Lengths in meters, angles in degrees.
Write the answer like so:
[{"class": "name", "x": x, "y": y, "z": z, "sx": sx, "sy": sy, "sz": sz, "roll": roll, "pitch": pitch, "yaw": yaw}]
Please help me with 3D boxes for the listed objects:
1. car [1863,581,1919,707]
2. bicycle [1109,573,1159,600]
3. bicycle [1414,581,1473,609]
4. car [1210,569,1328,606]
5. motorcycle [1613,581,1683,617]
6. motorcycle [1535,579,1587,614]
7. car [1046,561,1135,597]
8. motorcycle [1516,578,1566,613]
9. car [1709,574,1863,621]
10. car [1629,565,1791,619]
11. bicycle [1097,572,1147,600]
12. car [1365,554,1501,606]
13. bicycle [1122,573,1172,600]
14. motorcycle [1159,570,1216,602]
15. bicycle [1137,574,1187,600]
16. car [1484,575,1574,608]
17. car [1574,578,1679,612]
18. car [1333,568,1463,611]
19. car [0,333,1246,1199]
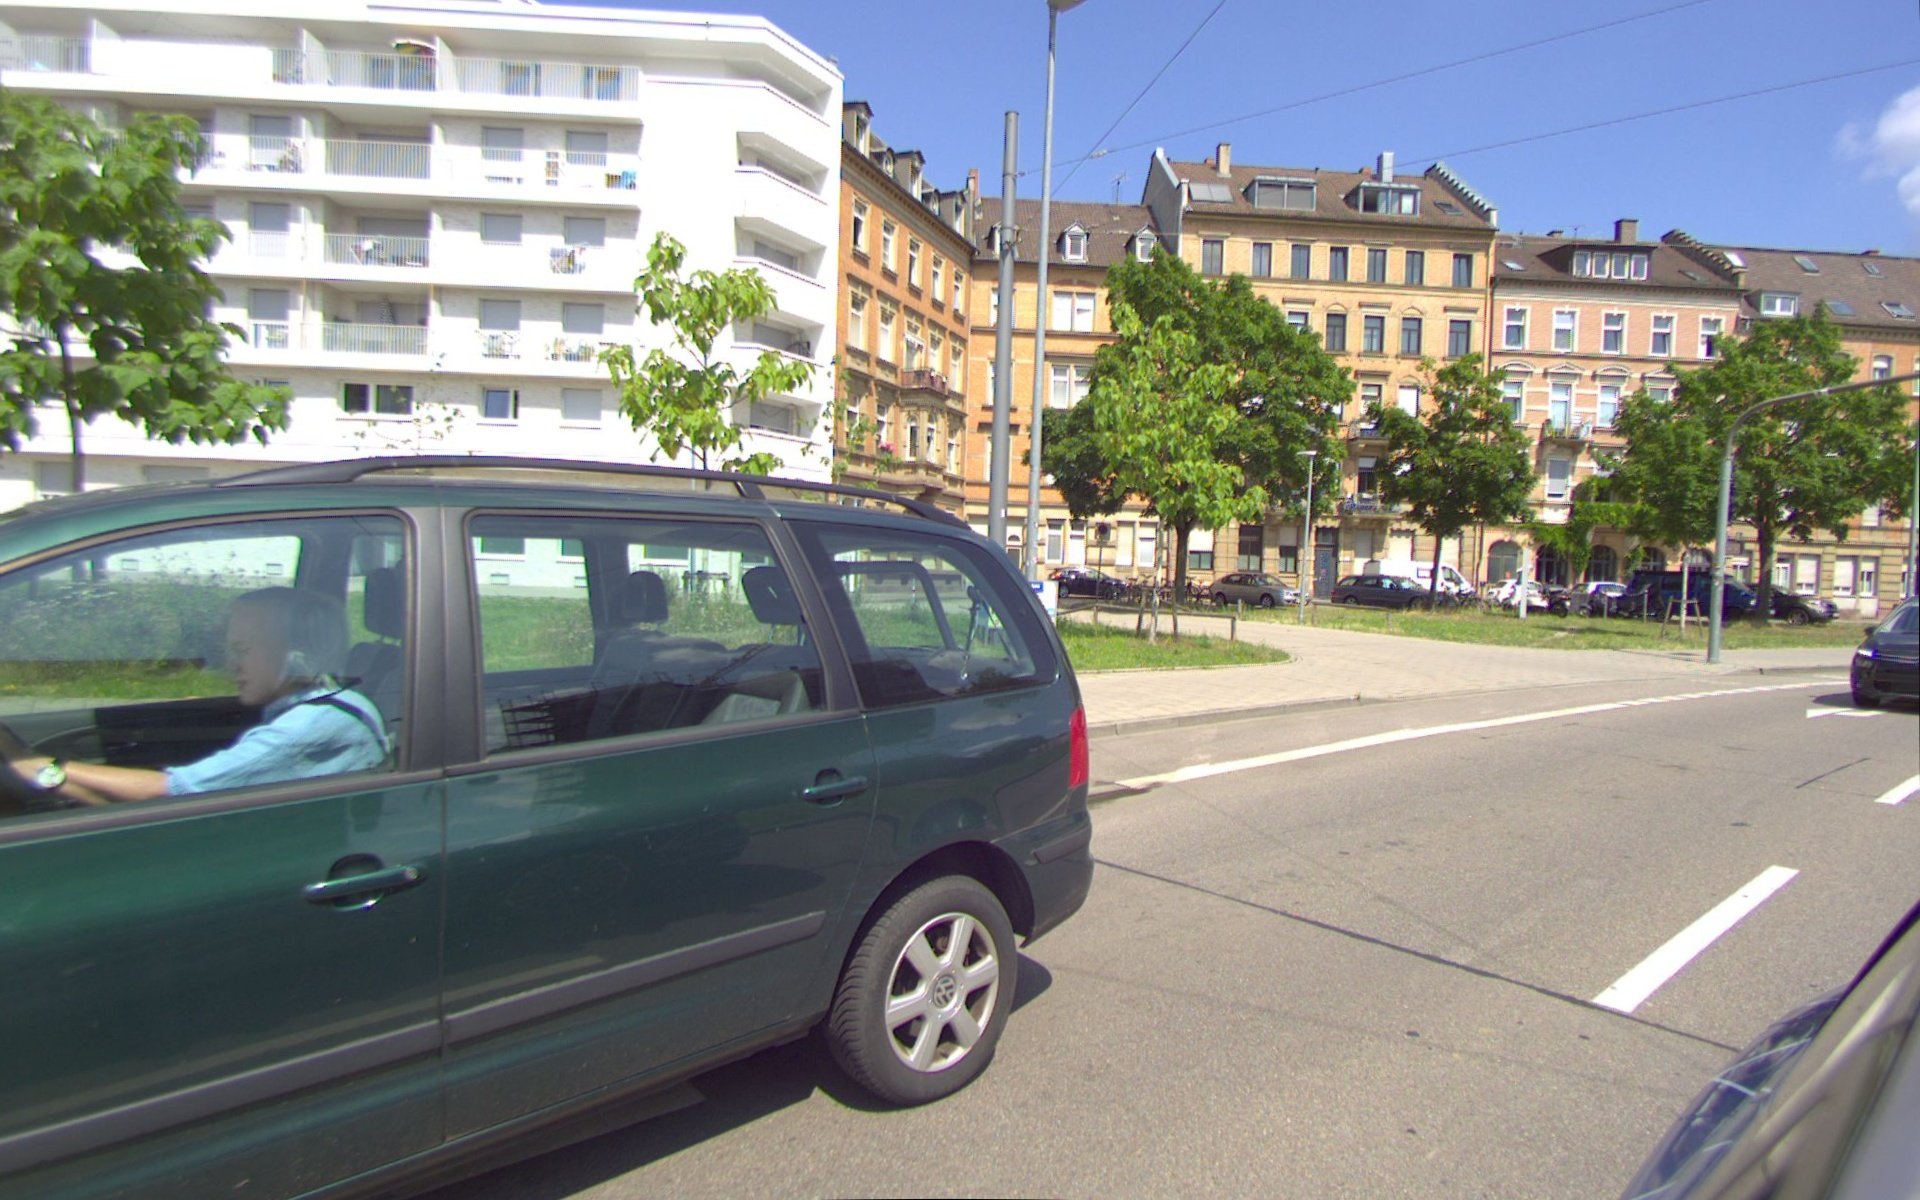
[{"class": "car", "x": 14.510, "y": 0.604, "z": 14.210, "sx": 4.110, "sy": 1.639, "sz": 1.877, "roll": 0, "pitch": 1, "yaw": -36}, {"class": "bicycle", "x": 6.477, "y": -0.524, "z": 37.771, "sx": 0.532, "sy": 0.981, "sz": 2.396, "roll": 1, "pitch": 1, "yaw": -26}, {"class": "bicycle", "x": 16.740, "y": -0.174, "z": 35.062, "sx": 1.784, "sy": 0.912, "sz": 0.544, "roll": 1, "pitch": 0, "yaw": -6}, {"class": "car", "x": 11.379, "y": -0.487, "z": 37.558, "sx": 1.825, "sy": 1.260, "sz": 4.172, "roll": 1, "pitch": 1, "yaw": -26}, {"class": "motorcycle", "x": 24.002, "y": -0.043, "z": 35.321, "sx": 1.876, "sy": 1.181, "sz": 0.638, "roll": 2, "pitch": 1, "yaw": 11}, {"class": "motorcycle", "x": 21.326, "y": -0.128, "z": 35.956, "sx": 0.627, "sy": 1.181, "sz": 1.791, "roll": 1, "pitch": 2, "yaw": -4}, {"class": "car", "x": 5.911, "y": -0.956, "z": 46.272, "sx": 3.779, "sy": 1.510, "sz": 1.665, "roll": 1, "pitch": 0, "yaw": -2}, {"class": "motorcycle", "x": 20.582, "y": -0.162, "z": 35.890, "sx": 0.627, "sy": 1.181, "sz": 1.791, "roll": 1, "pitch": 2, "yaw": -4}, {"class": "car", "x": 31.790, "y": -0.122, "z": 39.070, "sx": 1.878, "sy": 1.677, "sz": 4.180, "roll": 1, "pitch": 1, "yaw": -28}, {"class": "car", "x": 28.777, "y": -0.326, "z": 38.988, "sx": 1.879, "sy": 1.951, "sz": 4.633, "roll": 1, "pitch": 1, "yaw": -32}, {"class": "bicycle", "x": 5.976, "y": -0.532, "z": 37.518, "sx": 0.532, "sy": 0.981, "sz": 2.396, "roll": 1, "pitch": 1, "yaw": -26}, {"class": "car", "x": 21.877, "y": -0.924, "z": 46.945, "sx": 5.289, "sy": 2.206, "sz": 2.118, "roll": 1, "pitch": 0, "yaw": -2}, {"class": "bicycle", "x": 6.998, "y": -0.516, "z": 38.014, "sx": 0.532, "sy": 0.981, "sz": 2.396, "roll": 1, "pitch": 1, "yaw": -26}, {"class": "motorcycle", "x": 8.619, "y": -0.539, "z": 38.468, "sx": 0.796, "sy": 1.139, "sz": 2.396, "roll": 1, "pitch": 1, "yaw": -26}, {"class": "bicycle", "x": 7.615, "y": -0.499, "z": 38.305, "sx": 0.532, "sy": 0.968, "sz": 2.396, "roll": 1, "pitch": 1, "yaw": -26}, {"class": "car", "x": 26.588, "y": -0.400, "z": 47.365, "sx": 3.287, "sy": 1.420, "sz": 1.569, "roll": 2, "pitch": 2, "yaw": 1}, {"class": "car", "x": 31.297, "y": -0.240, "z": 47.587, "sx": 3.779, "sy": 1.510, "sz": 1.665, "roll": 1, "pitch": 0, "yaw": -2}, {"class": "car", "x": 16.540, "y": -0.416, "z": 38.445, "sx": 1.770, "sy": 1.445, "sz": 4.264, "roll": 1, "pitch": 2, "yaw": -31}, {"class": "car", "x": -1.385, "y": 0.470, "z": 2.808, "sx": 4.945, "sy": 1.778, "sz": 1.821, "roll": 0, "pitch": 1, "yaw": -42}]
